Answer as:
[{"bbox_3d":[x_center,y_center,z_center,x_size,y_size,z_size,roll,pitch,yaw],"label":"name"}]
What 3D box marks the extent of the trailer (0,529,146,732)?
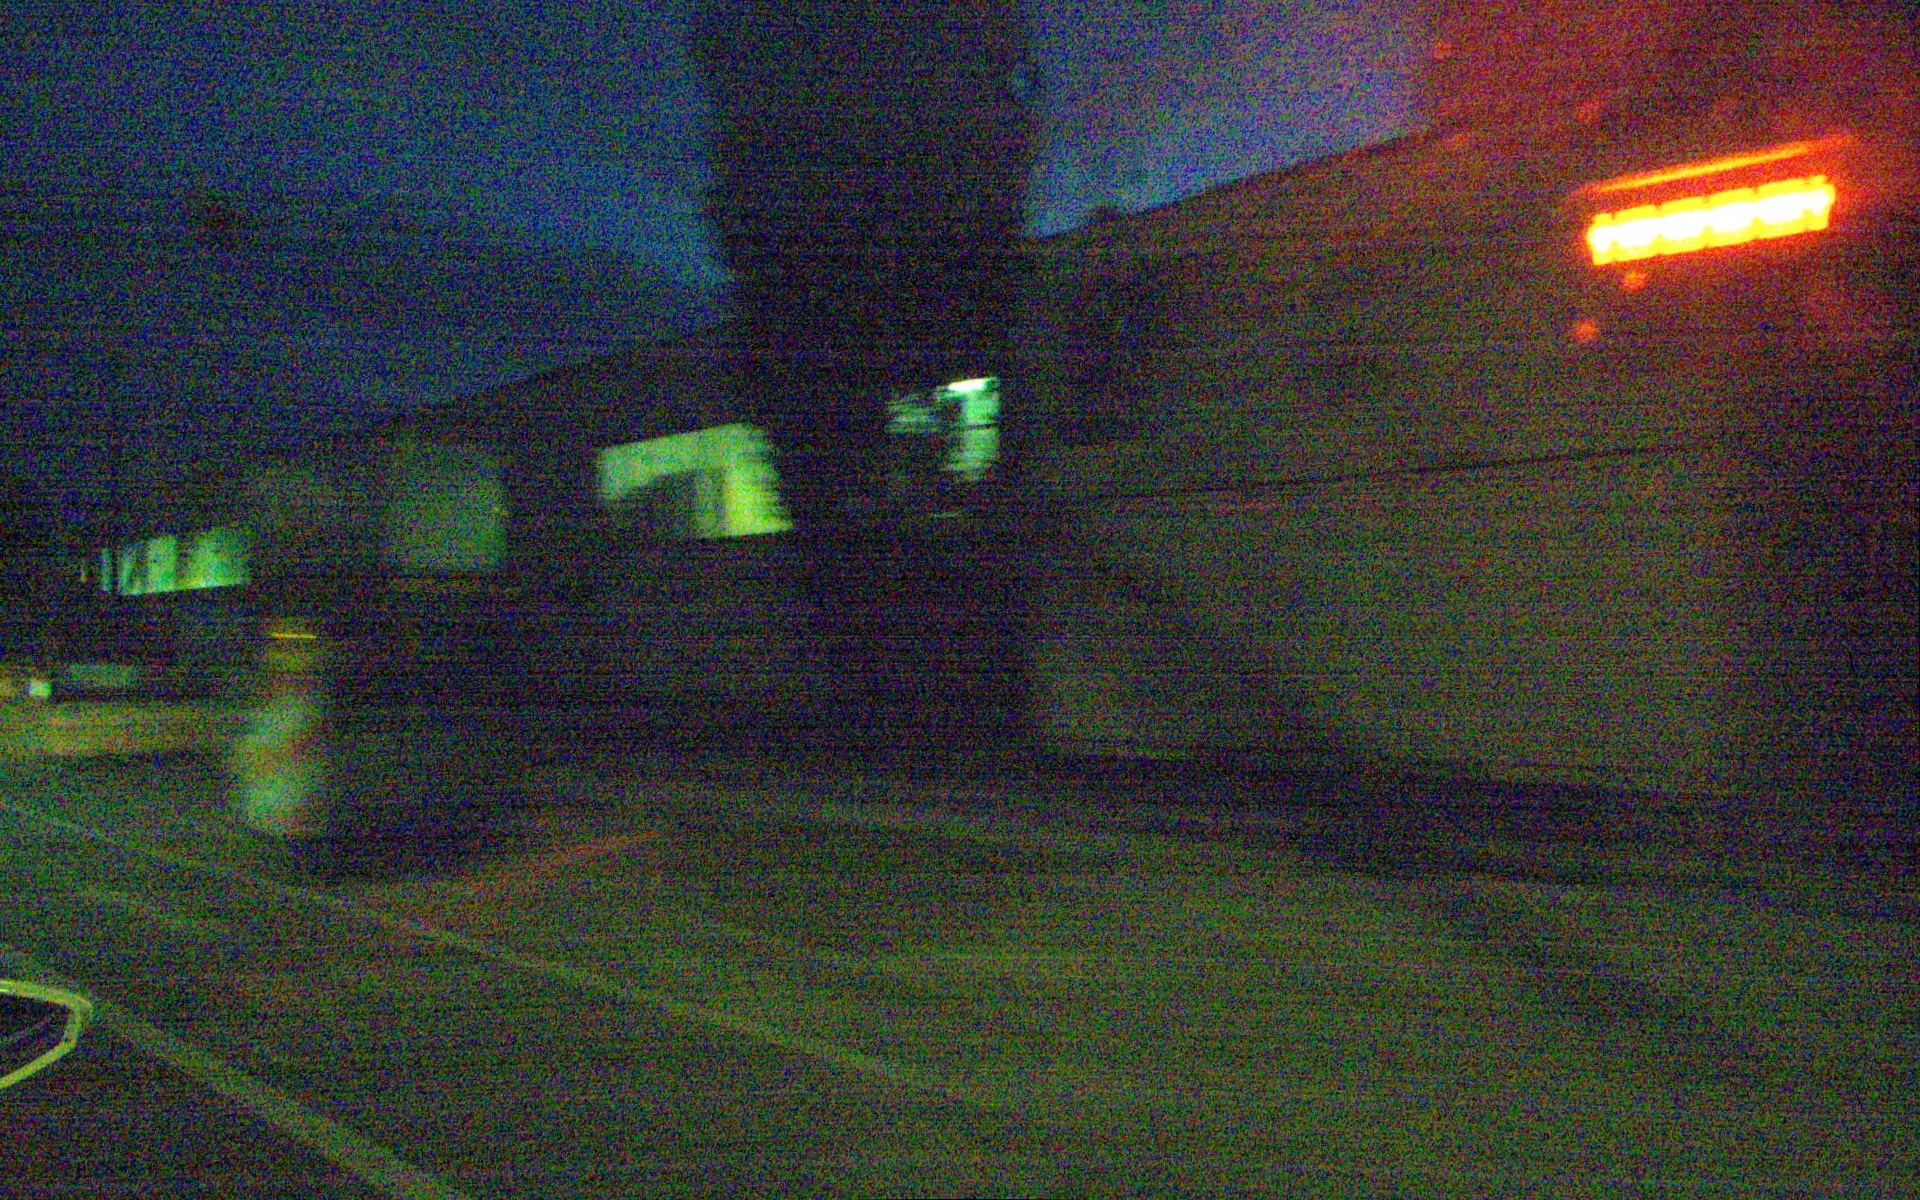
[{"bbox_3d":[-15.441,0.492,15.693,4.638,2.880,2.612,-1,-3,30],"label":"trailer"}]
